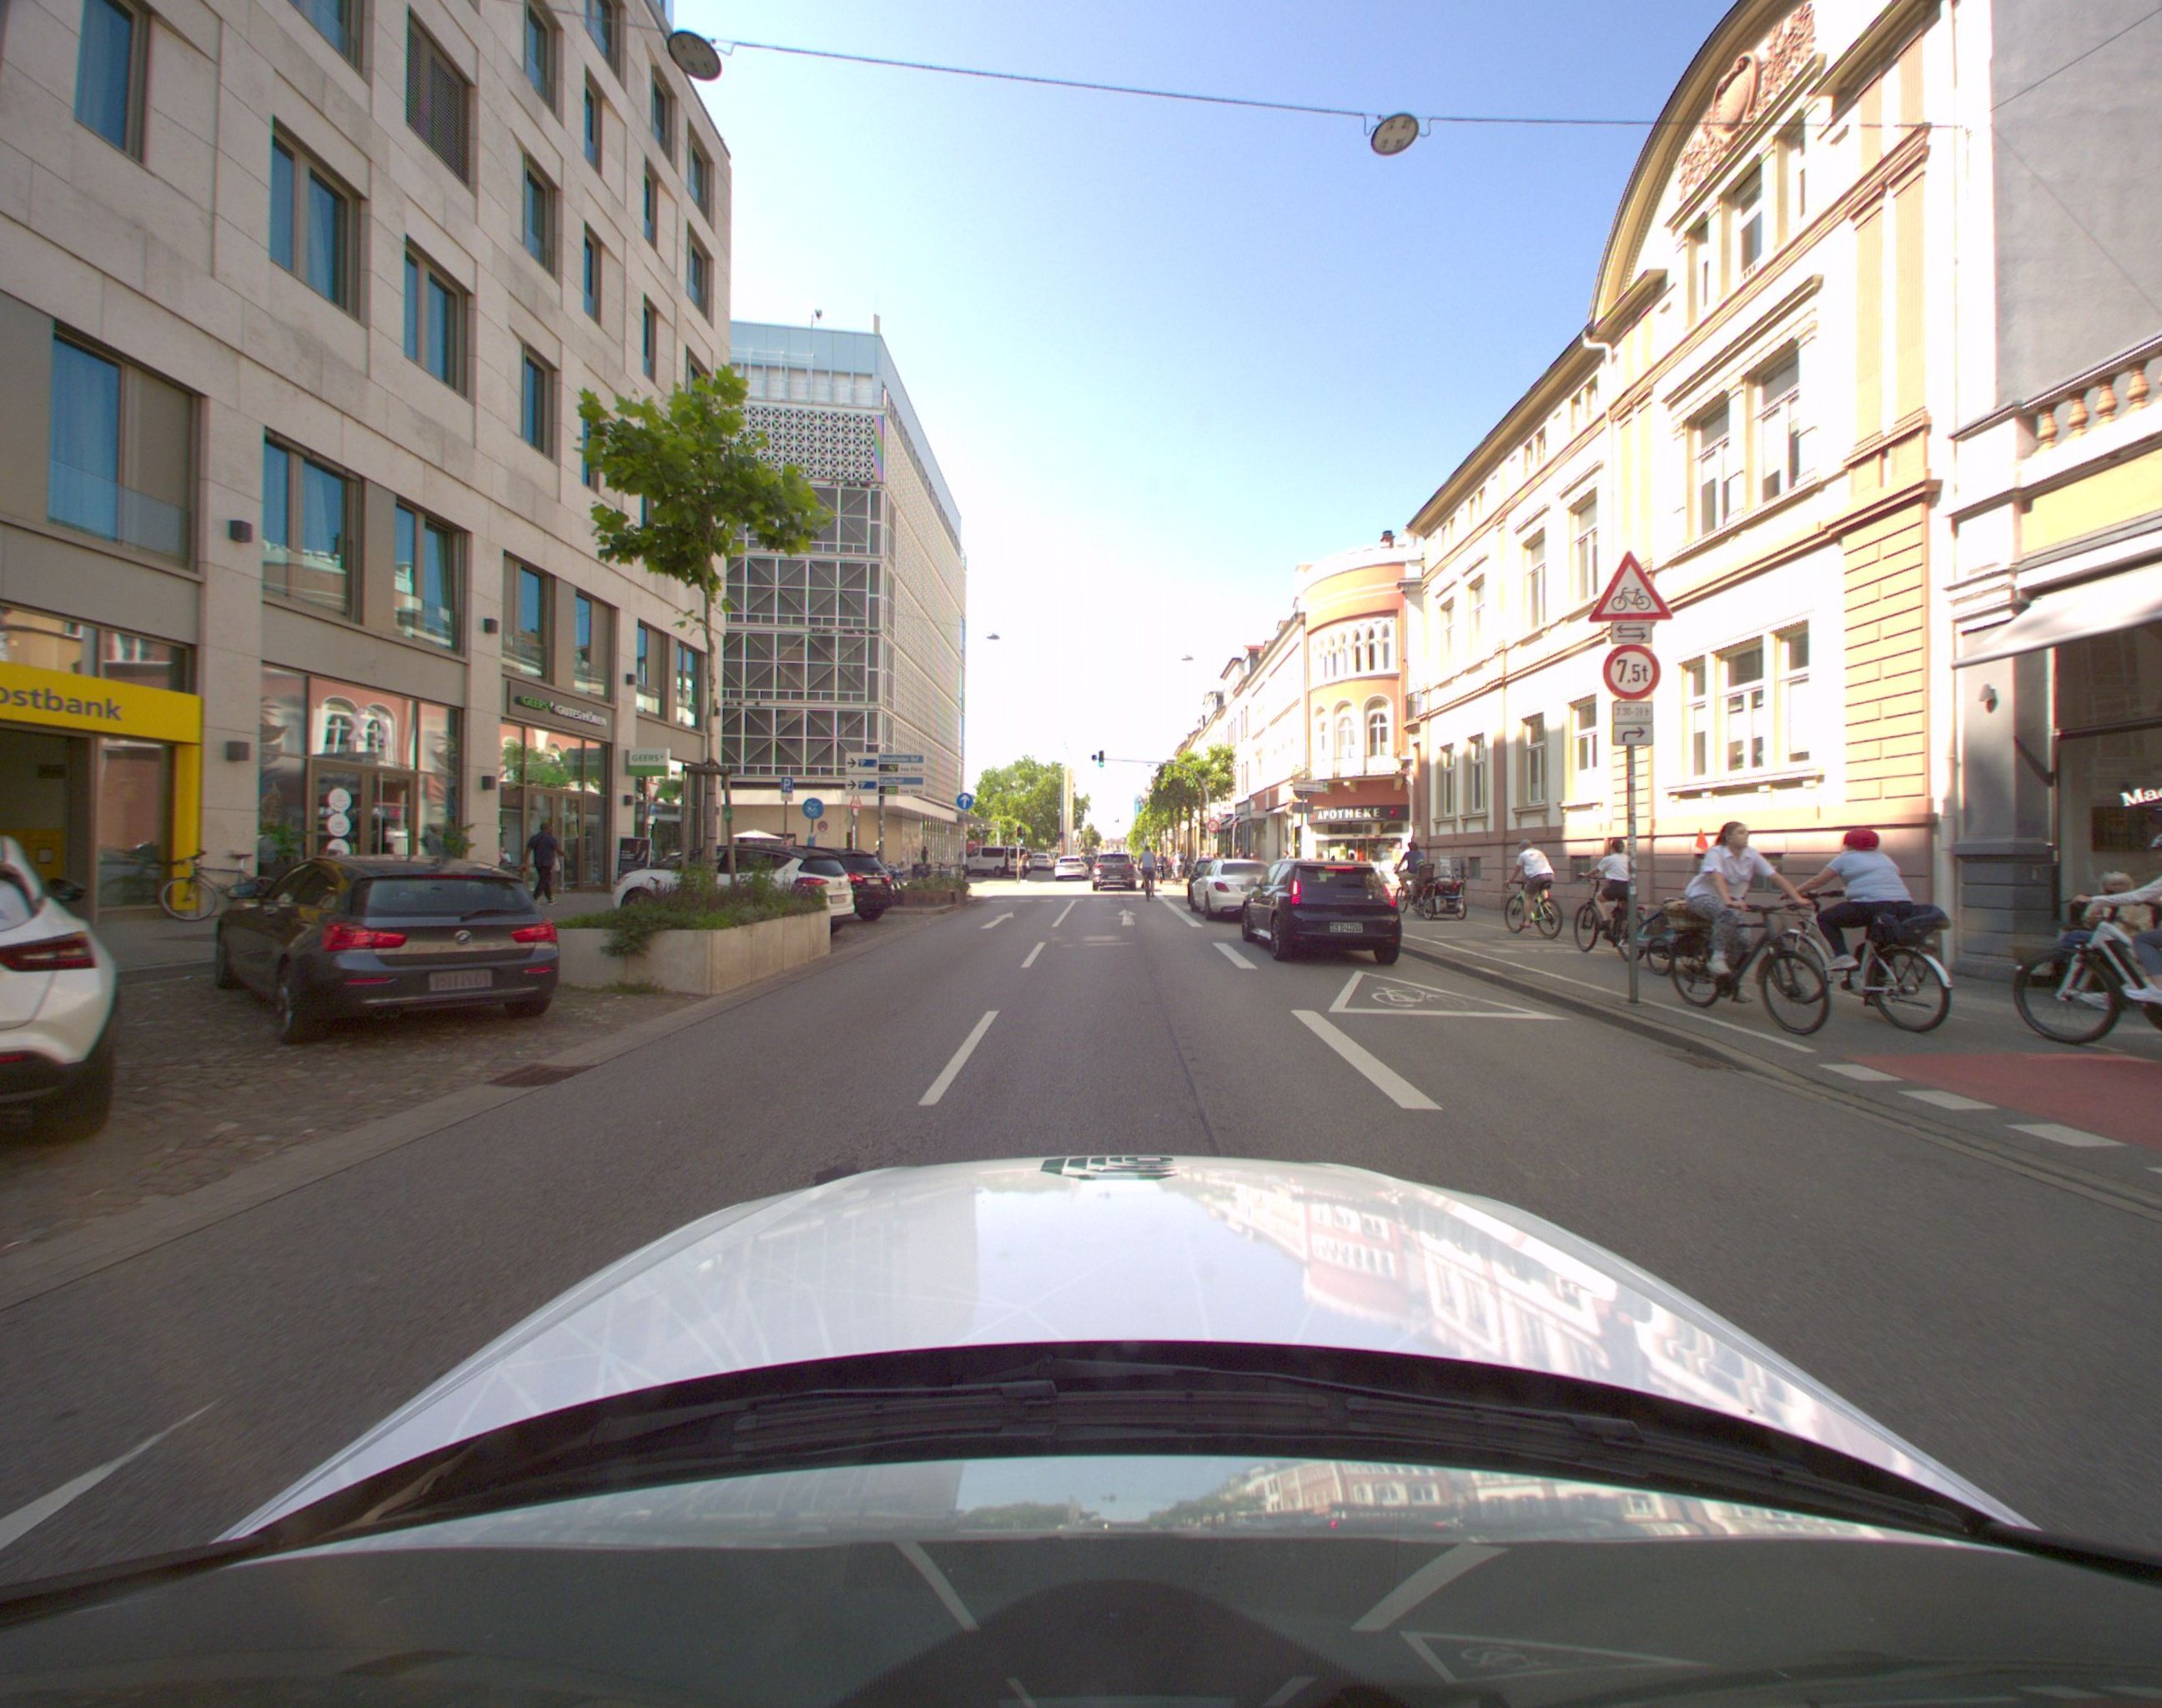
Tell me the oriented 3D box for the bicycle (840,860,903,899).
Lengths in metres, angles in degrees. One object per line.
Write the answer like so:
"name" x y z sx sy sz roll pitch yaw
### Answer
"bicycle" -6.641 0.801 25.801 2.039 1.127 0.565 2 1 26

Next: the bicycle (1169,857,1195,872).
"bicycle" 7.419 0.761 59.942 1.822 1.127 0.451 -1 -2 30

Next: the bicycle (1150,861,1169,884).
"bicycle" 4.022 0.915 41.862 0.696 1.127 2.080 2 0 -1

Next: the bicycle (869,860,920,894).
"bicycle" -6.631 0.801 28.905 2.038 1.169 0.609 -1 -1 39

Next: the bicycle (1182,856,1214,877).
"bicycle" 6.895 0.737 48.041 1.826 1.127 0.347 2 1 17

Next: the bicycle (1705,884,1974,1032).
"bicycle" 7.052 0.897 7.754 0.732 1.127 2.036 -2 0 4

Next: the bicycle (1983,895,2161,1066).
"bicycle" 7.954 0.926 6.005 0.603 1.127 1.862 -2 0 4

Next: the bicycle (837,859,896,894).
"bicycle" -7.323 0.754 27.780 2.038 1.127 0.651 0 0 28

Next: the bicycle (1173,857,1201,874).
"bicycle" 7.057 0.767 54.252 1.832 1.127 0.530 0 -1 4

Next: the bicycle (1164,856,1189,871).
"bicycle" 7.577 0.759 64.539 1.839 1.127 0.630 2 -1 -9

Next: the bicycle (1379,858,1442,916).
"bicycle" 7.966 0.765 19.789 0.729 1.268 2.285 1 1 4

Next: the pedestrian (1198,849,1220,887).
"pedestrian" 6.153 0.667 39.261 0.638 1.709 0.789 -9 -3 -2

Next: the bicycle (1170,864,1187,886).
"bicycle" 4.674 0.990 39.058 0.628 0.980 2.090 0 0 2

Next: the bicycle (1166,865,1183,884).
"bicycle" 4.770 1.035 41.686 0.598 0.926 2.086 2 -1 -1

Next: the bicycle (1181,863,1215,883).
"bicycle" 6.793 1.096 47.240 1.842 0.397 1.019 8 -35 6

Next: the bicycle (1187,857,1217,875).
"bicycle" 7.570 0.735 51.137 1.832 1.127 0.667 0 -1 4

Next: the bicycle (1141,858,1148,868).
"bicycle" 6.488 0.875 83.383 0.644 0.998 2.032 0 0 2

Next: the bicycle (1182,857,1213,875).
"bicycle" 7.180 0.728 50.116 1.832 1.127 0.667 0 -1 4

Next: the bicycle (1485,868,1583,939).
"bicycle" 8.160 0.850 14.772 0.569 1.127 2.077 -2 1 -1

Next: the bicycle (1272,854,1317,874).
"bicycle" 9.356 0.432 35.720 1.814 0.844 0.501 -1 0 2

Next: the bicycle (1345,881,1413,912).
"bicycle" 12.149 1.715 33.187 2.542 1.127 0.631 1 -5 24

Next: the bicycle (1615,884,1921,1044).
"bicycle" 6.072 0.888 7.489 0.738 1.127 2.576 -2 -1 4

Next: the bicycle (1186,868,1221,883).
"bicycle" 6.991 1.235 46.431 1.142 0.434 1.842 -11 -5 -24

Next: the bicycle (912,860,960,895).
"bicycle" -5.058 0.805 28.395 0.608 1.173 2.039 2 -1 -43

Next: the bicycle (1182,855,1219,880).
"bicycle" 6.510 0.723 44.516 1.833 1.188 0.721 4 3 40

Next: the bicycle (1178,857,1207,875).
"bicycle" 7.070 0.746 51.696 1.832 1.127 0.644 0 -1 4

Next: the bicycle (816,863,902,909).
"bicycle" -5.921 0.839 21.726 2.131 1.127 0.485 2 1 3

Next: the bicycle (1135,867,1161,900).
"bicycle" 2.171 0.949 26.690 0.771 1.006 2.331 0 0 3

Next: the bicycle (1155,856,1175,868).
"bicycle" 8.019 0.753 78.086 1.827 1.127 0.499 2 -1 13

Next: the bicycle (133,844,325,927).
"bicycle" -12.556 0.431 12.122 0.493 1.107 2.162 2 0 2

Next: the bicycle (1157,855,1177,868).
"bicycle" 8.139 0.710 77.015 1.829 1.197 0.675 1 0 9

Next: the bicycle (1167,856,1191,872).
"bicycle" 7.345 0.752 60.975 1.853 1.127 0.587 1 -2 -34

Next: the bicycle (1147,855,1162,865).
"bicycle" 9.404 0.736 104.133 1.835 1.201 0.609 0 0 4

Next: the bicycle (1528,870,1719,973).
"bicycle" 7.584 0.866 11.668 0.745 1.127 3.244 -2 1 4

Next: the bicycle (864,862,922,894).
"bicycle" -7.227 0.921 31.373 1.975 1.126 0.801 0 5 9

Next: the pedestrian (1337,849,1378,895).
"pedestrian" 9.935 0.661 29.283 0.902 1.612 0.970 -1 -3 -18

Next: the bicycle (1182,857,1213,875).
"bicycle" 7.047 0.723 49.325 1.829 1.127 0.668 0 -1 9

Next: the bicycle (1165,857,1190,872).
"bicycle" 7.378 0.797 62.330 1.833 1.093 0.565 1 -1 2

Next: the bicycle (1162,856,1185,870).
"bicycle" 7.804 0.768 68.992 1.837 1.127 0.496 2 1 -6

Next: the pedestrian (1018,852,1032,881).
"pedestrian" -3.106 0.693 45.180 0.639 1.559 0.679 2 0 -10

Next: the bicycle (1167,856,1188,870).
"bicycle" 8.352 0.759 70.642 1.783 1.197 0.573 1 -1 -26
